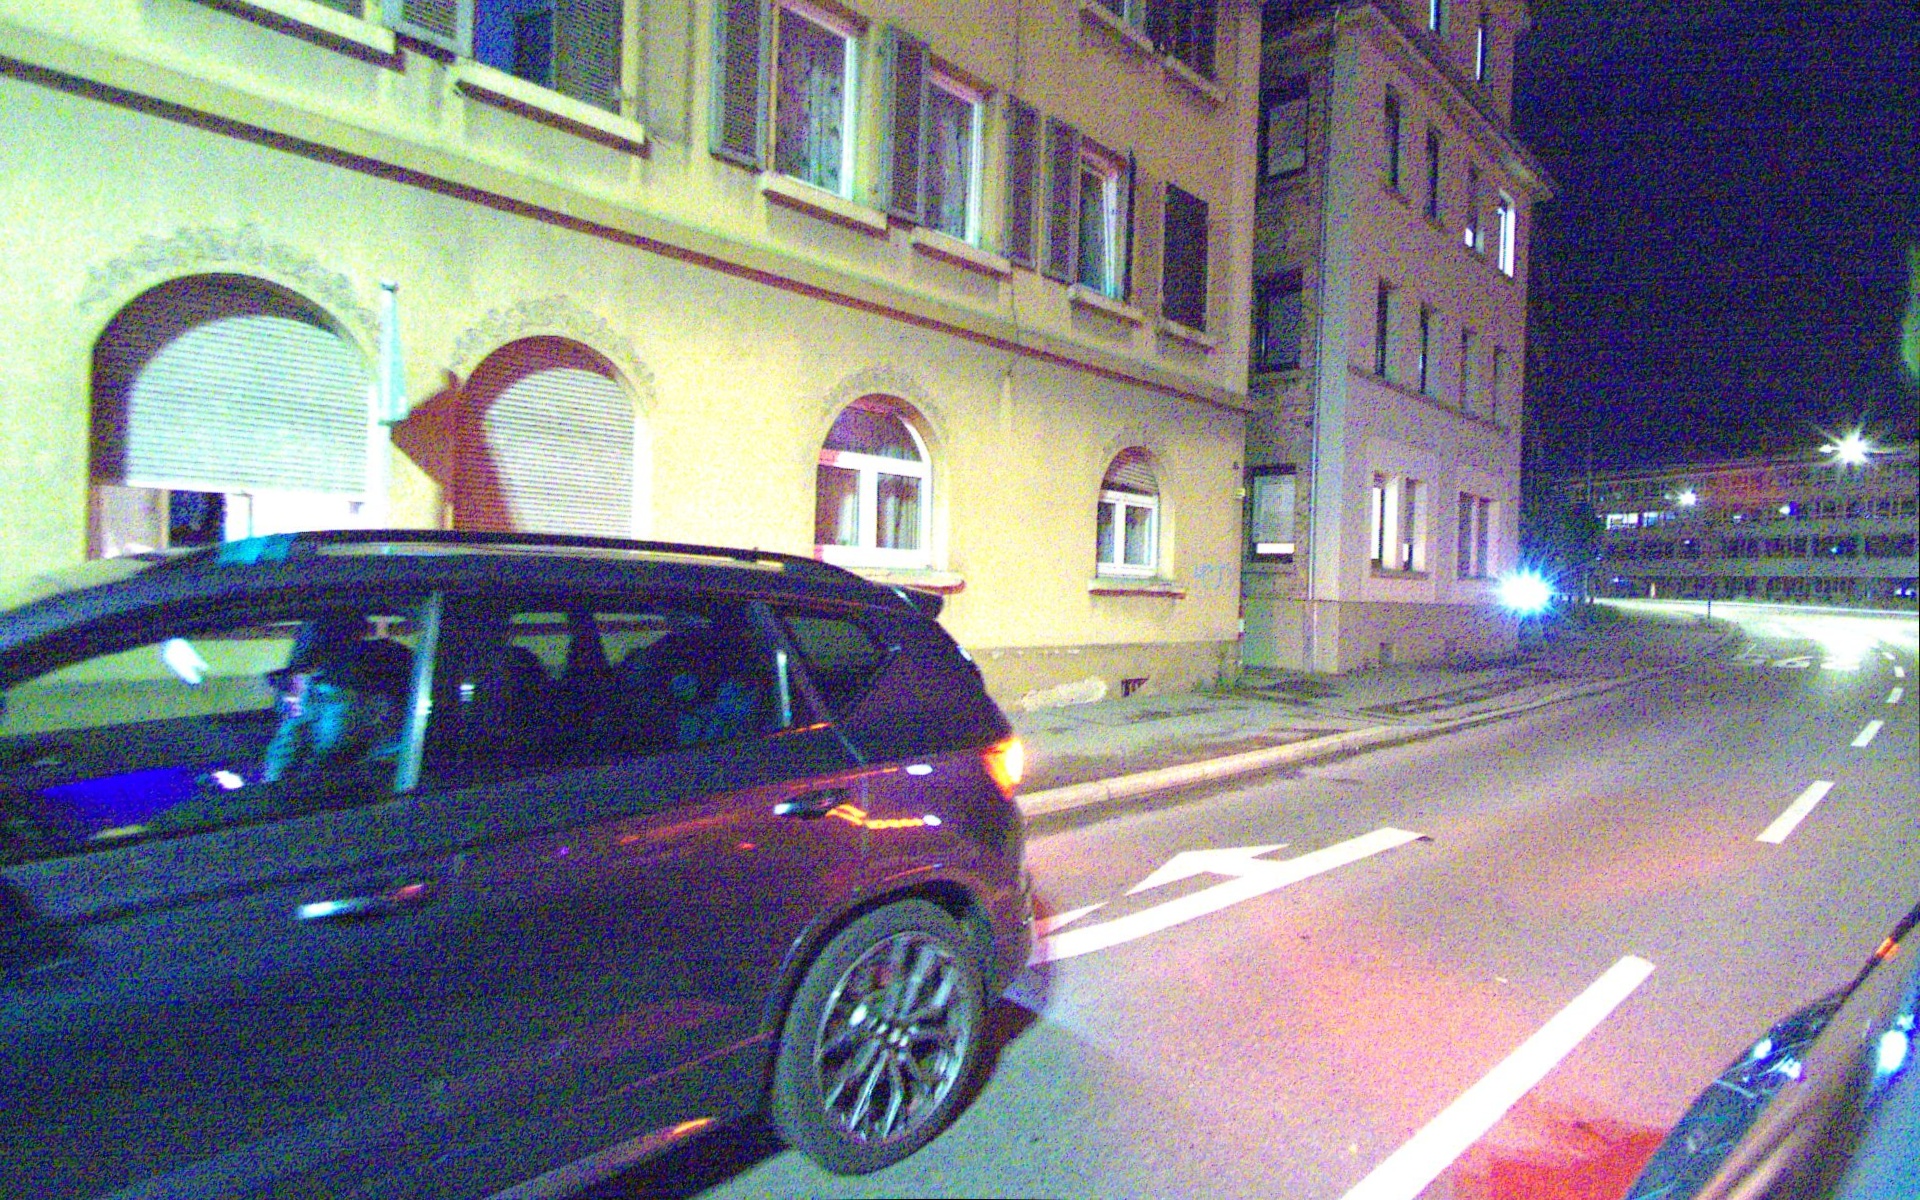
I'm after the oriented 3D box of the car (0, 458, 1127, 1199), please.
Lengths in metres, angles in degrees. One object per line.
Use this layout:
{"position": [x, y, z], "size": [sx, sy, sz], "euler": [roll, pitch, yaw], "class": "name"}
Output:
{"position": [-1.560, 0.598, 2.286], "size": [4.159, 1.630, 1.672], "euler": [-2, 2, -44], "class": "car"}
